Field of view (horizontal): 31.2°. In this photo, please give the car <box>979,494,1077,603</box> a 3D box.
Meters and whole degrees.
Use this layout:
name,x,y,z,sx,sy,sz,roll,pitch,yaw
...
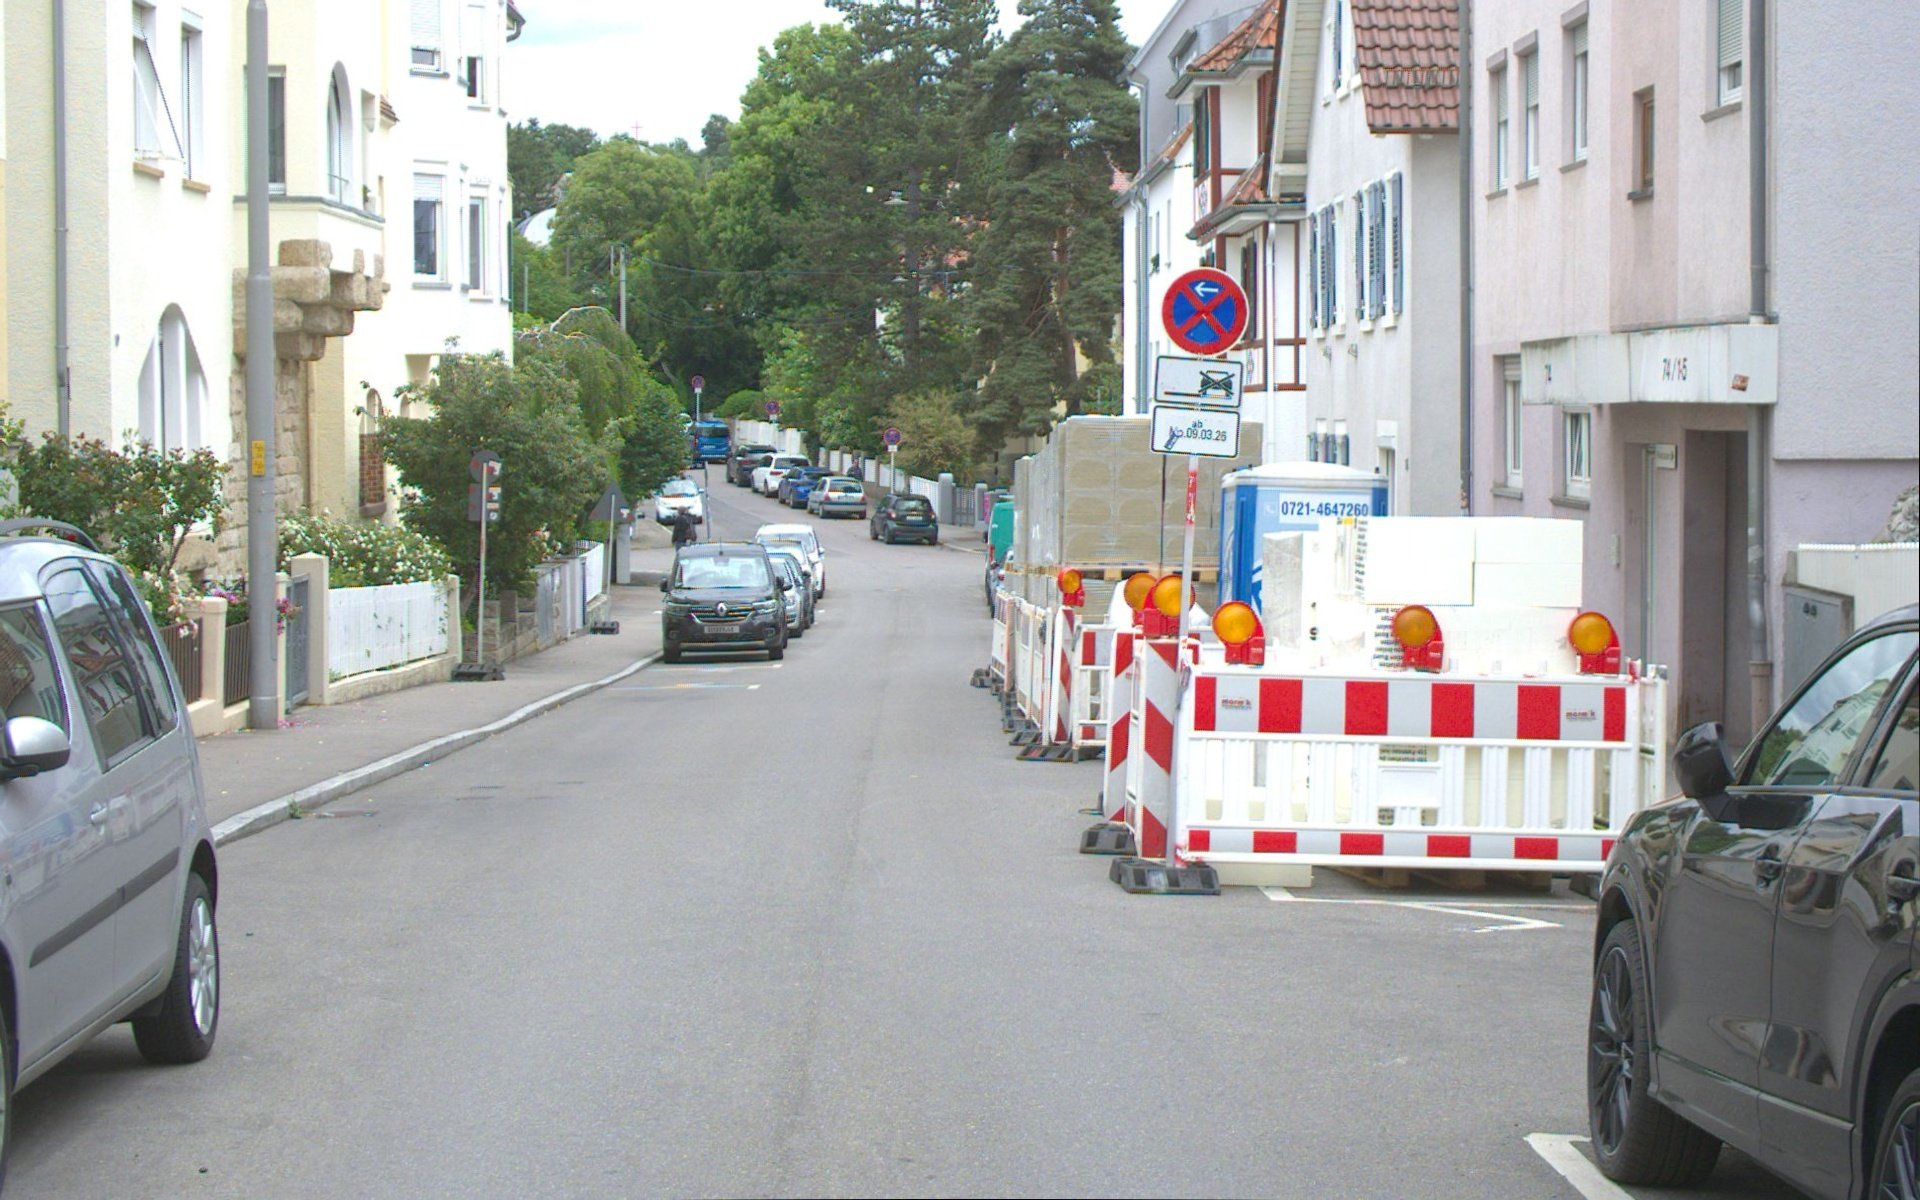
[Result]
name,x,y,z,sx,sy,sz,roll,pitch,yaw
car,1.516,-1.192,78.000,1.980,2.354,4.278,0,2,-2

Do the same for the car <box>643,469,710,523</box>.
name,x,y,z,sx,sy,sz,roll,pitch,yaw
car,-9.701,-3.574,117.397,1.672,1.651,3.865,-2,4,-14

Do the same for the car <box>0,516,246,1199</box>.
name,x,y,z,sx,sy,sz,roll,pitch,yaw
car,-3.131,0.606,8.951,1.844,1.625,4.287,0,1,-3

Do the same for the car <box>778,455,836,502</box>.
name,x,y,z,sx,sy,sz,roll,pitch,yaw
car,-5.553,-4.394,124.536,1.634,1.478,3.532,1,5,-10

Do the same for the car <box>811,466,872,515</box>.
name,x,y,z,sx,sy,sz,roll,pitch,yaw
car,-4.164,-3.829,120.121,1.634,1.478,3.532,1,5,-10

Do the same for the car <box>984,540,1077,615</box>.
name,x,y,z,sx,sy,sz,roll,pitch,yaw
car,1.448,-0.491,71.664,1.725,1.443,3.881,0,2,-2

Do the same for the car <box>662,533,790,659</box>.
name,x,y,z,sx,sy,sz,roll,pitch,yaw
car,-3.595,-0.104,52.886,1.844,1.809,4.545,-1,1,-4

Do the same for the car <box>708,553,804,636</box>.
name,x,y,z,sx,sy,sz,roll,pitch,yaw
car,-3.739,-0.123,63.408,1.642,1.412,3.984,-1,1,-2

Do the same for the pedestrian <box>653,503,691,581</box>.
name,x,y,z,sx,sy,sz,roll,pitch,yaw
pedestrian,-7.161,-1.443,85.504,0.791,1.926,0.919,1,2,2

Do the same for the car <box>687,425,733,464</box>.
name,x,y,z,sx,sy,sz,roll,pitch,yaw
car,-10.968,-6.829,150.768,1.634,1.532,3.532,1,5,-10

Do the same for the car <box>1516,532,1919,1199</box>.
name,x,y,z,sx,sy,sz,roll,pitch,yaw
car,2.400,0.670,7.233,1.715,1.560,4.073,1,1,-1

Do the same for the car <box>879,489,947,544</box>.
name,x,y,z,sx,sy,sz,roll,pitch,yaw
car,-1.489,-2.646,108.061,1.634,1.478,3.532,1,5,-9

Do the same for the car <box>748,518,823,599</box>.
name,x,y,z,sx,sy,sz,roll,pitch,yaw
car,-4.123,-1.009,81.595,1.672,1.651,3.864,-1,4,-2

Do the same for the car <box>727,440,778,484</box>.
name,x,y,z,sx,sy,sz,roll,pitch,yaw
car,-8.246,-5.475,136.386,1.634,1.532,3.532,1,5,-10

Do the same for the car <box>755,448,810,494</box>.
name,x,y,z,sx,sy,sz,roll,pitch,yaw
car,-6.772,-4.920,130.607,1.634,1.532,3.532,1,5,-10
